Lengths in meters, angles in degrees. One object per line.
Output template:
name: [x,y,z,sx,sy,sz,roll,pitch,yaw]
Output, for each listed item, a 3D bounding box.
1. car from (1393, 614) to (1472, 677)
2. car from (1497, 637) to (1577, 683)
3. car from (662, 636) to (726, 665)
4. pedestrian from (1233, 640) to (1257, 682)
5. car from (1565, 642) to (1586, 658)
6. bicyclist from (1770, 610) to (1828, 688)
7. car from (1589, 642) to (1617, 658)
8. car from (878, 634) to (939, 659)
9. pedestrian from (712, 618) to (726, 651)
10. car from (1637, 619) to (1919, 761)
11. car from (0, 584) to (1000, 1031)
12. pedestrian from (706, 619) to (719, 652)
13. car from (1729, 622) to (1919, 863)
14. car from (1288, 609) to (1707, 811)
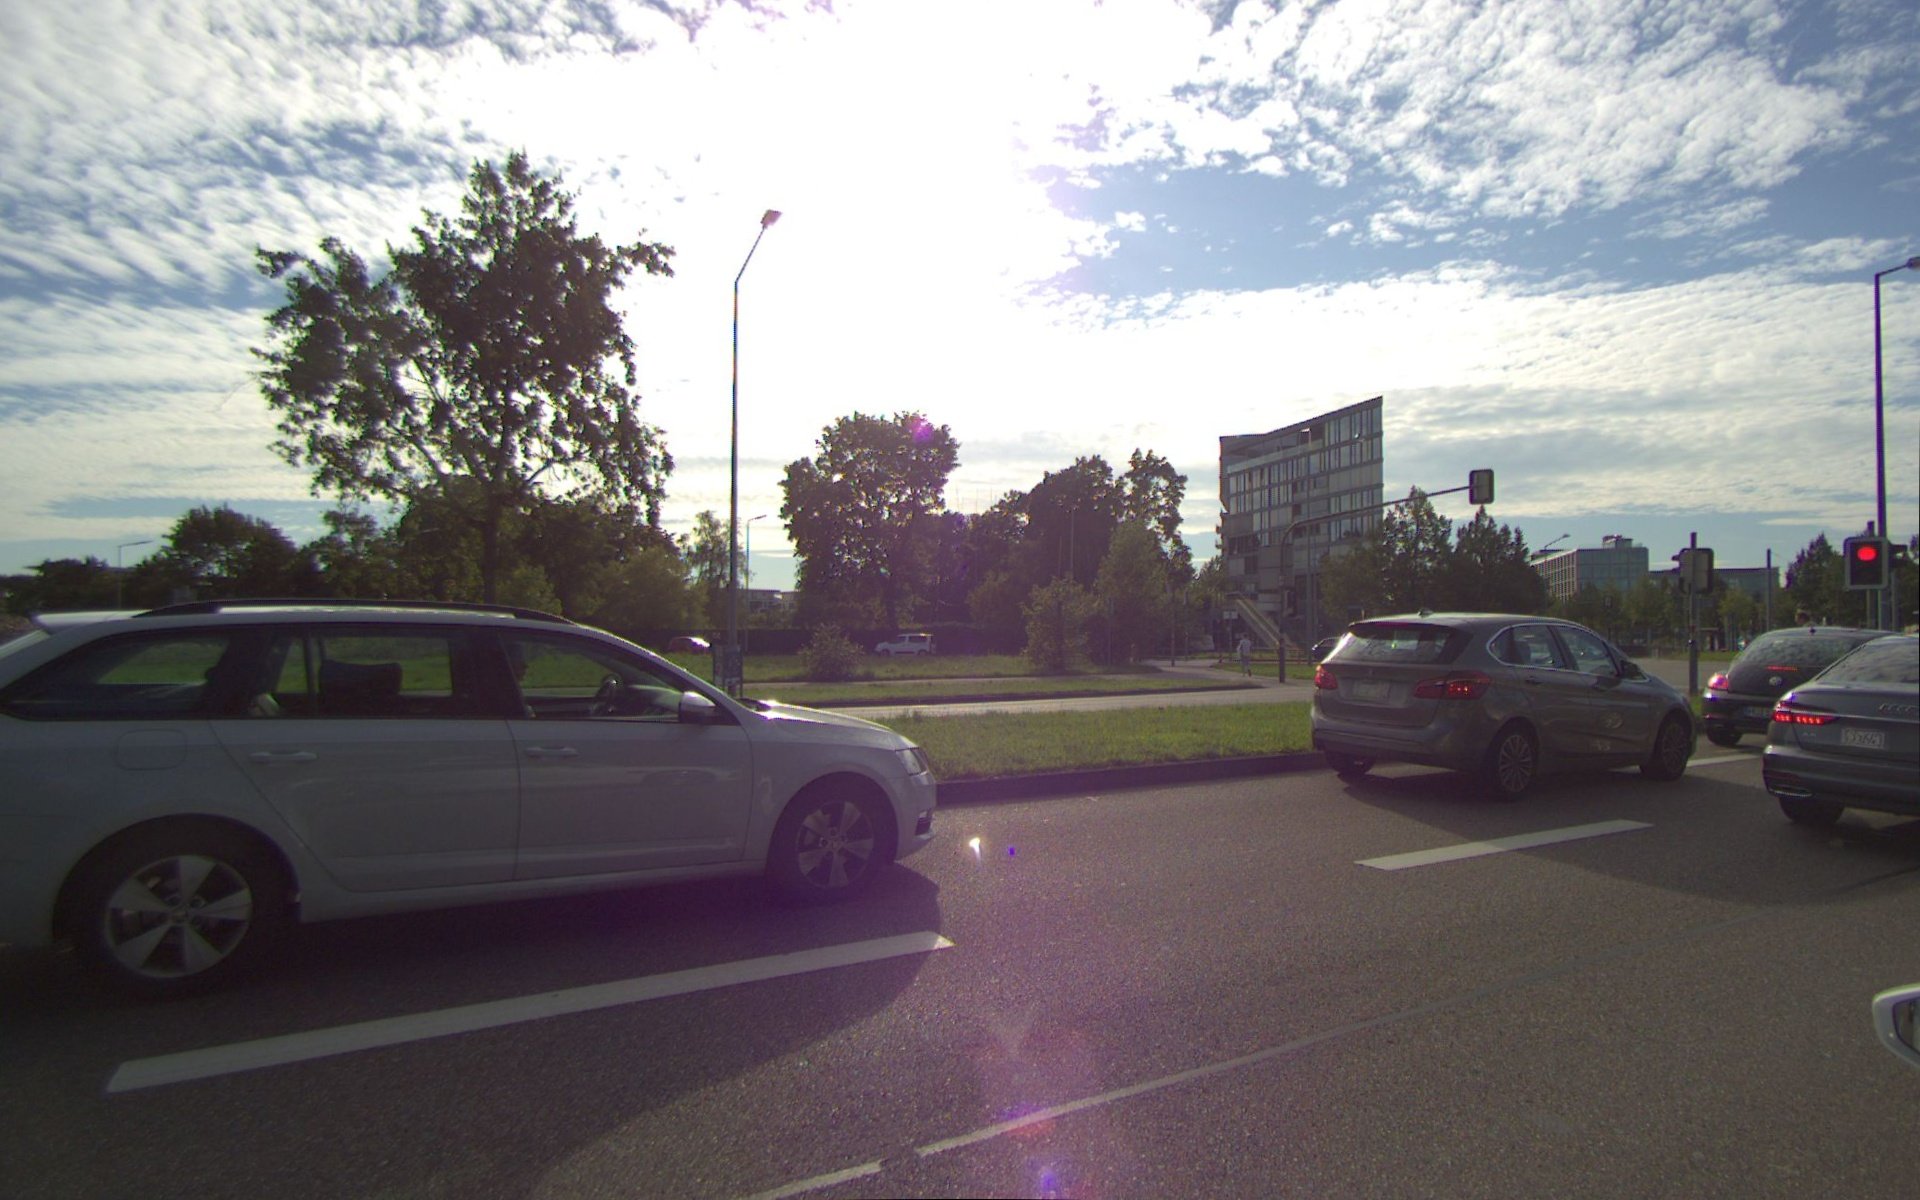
car: [18.537,1.797,39.226,1.966,2.264,5.910,-3,-4,33]
car: [19.165,1.998,33.293,1.876,1.428,4.194,-3,-5,35]
car: [-18.450,3.503,69.786,3.919,1.793,1.712,2,-1,13]
pedestrian: [11.083,2.370,39.039,0.610,1.589,0.650,2,-2,-38]
car: [59.967,4.900,97.857,1.570,1.433,3.662,-3,-6,33]
bicyclist: [17.095,1.001,20.461,0.840,1.546,0.736,-2,-3,44]
car: [64.129,4.979,100.209,1.589,1.484,3.730,-1,-2,21]
car: [-3.652,3.299,71.598,4.045,1.770,2.002,0,-2,10]
pedestrian: [-15.000,2.169,62.446,0.723,2.040,0.739,0,-2,-6]
car: [10.488,1.051,12.776,3.766,1.543,1.672,1,-1,-31]
car: [-2.114,0.765,5.078,4.429,1.518,1.690,2,-1,-31]
pedestrian: [-15.185,2.169,61.658,0.675,2.040,0.641,0,-2,-5]
car: [7.964,0.970,7.571,4.559,1.502,1.881,2,-1,-31]
car: [5.207,0.917,9.625,3.971,1.579,1.721,1,-1,-30]
